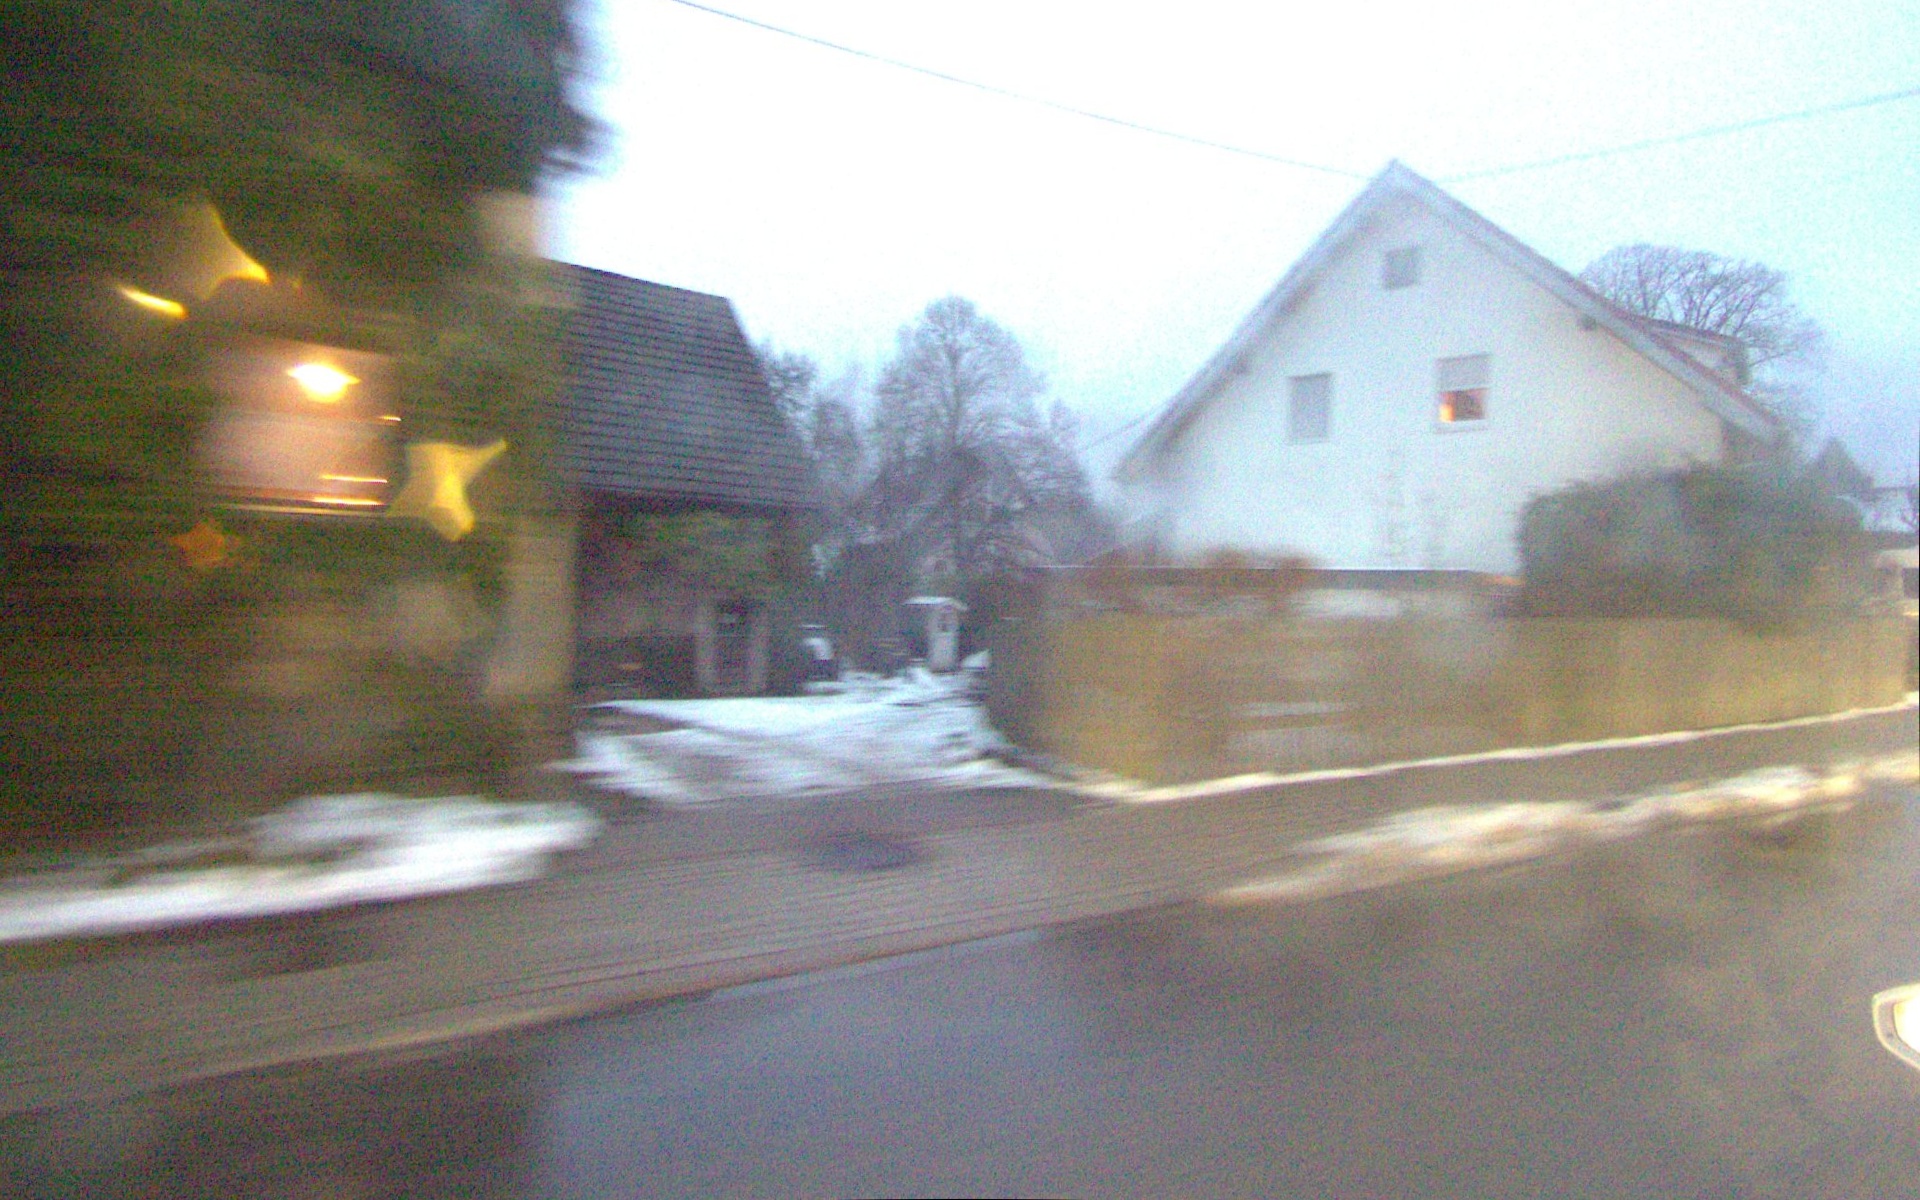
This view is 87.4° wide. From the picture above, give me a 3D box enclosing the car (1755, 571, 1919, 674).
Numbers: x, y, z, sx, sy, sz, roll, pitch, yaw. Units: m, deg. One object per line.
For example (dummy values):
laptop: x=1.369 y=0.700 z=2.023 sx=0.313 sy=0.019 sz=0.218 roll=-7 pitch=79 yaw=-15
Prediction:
car: x=24.751 y=0.597 z=26.183 sx=6.005 sy=2.587 sz=1.997 roll=1 pitch=0 yaw=29
